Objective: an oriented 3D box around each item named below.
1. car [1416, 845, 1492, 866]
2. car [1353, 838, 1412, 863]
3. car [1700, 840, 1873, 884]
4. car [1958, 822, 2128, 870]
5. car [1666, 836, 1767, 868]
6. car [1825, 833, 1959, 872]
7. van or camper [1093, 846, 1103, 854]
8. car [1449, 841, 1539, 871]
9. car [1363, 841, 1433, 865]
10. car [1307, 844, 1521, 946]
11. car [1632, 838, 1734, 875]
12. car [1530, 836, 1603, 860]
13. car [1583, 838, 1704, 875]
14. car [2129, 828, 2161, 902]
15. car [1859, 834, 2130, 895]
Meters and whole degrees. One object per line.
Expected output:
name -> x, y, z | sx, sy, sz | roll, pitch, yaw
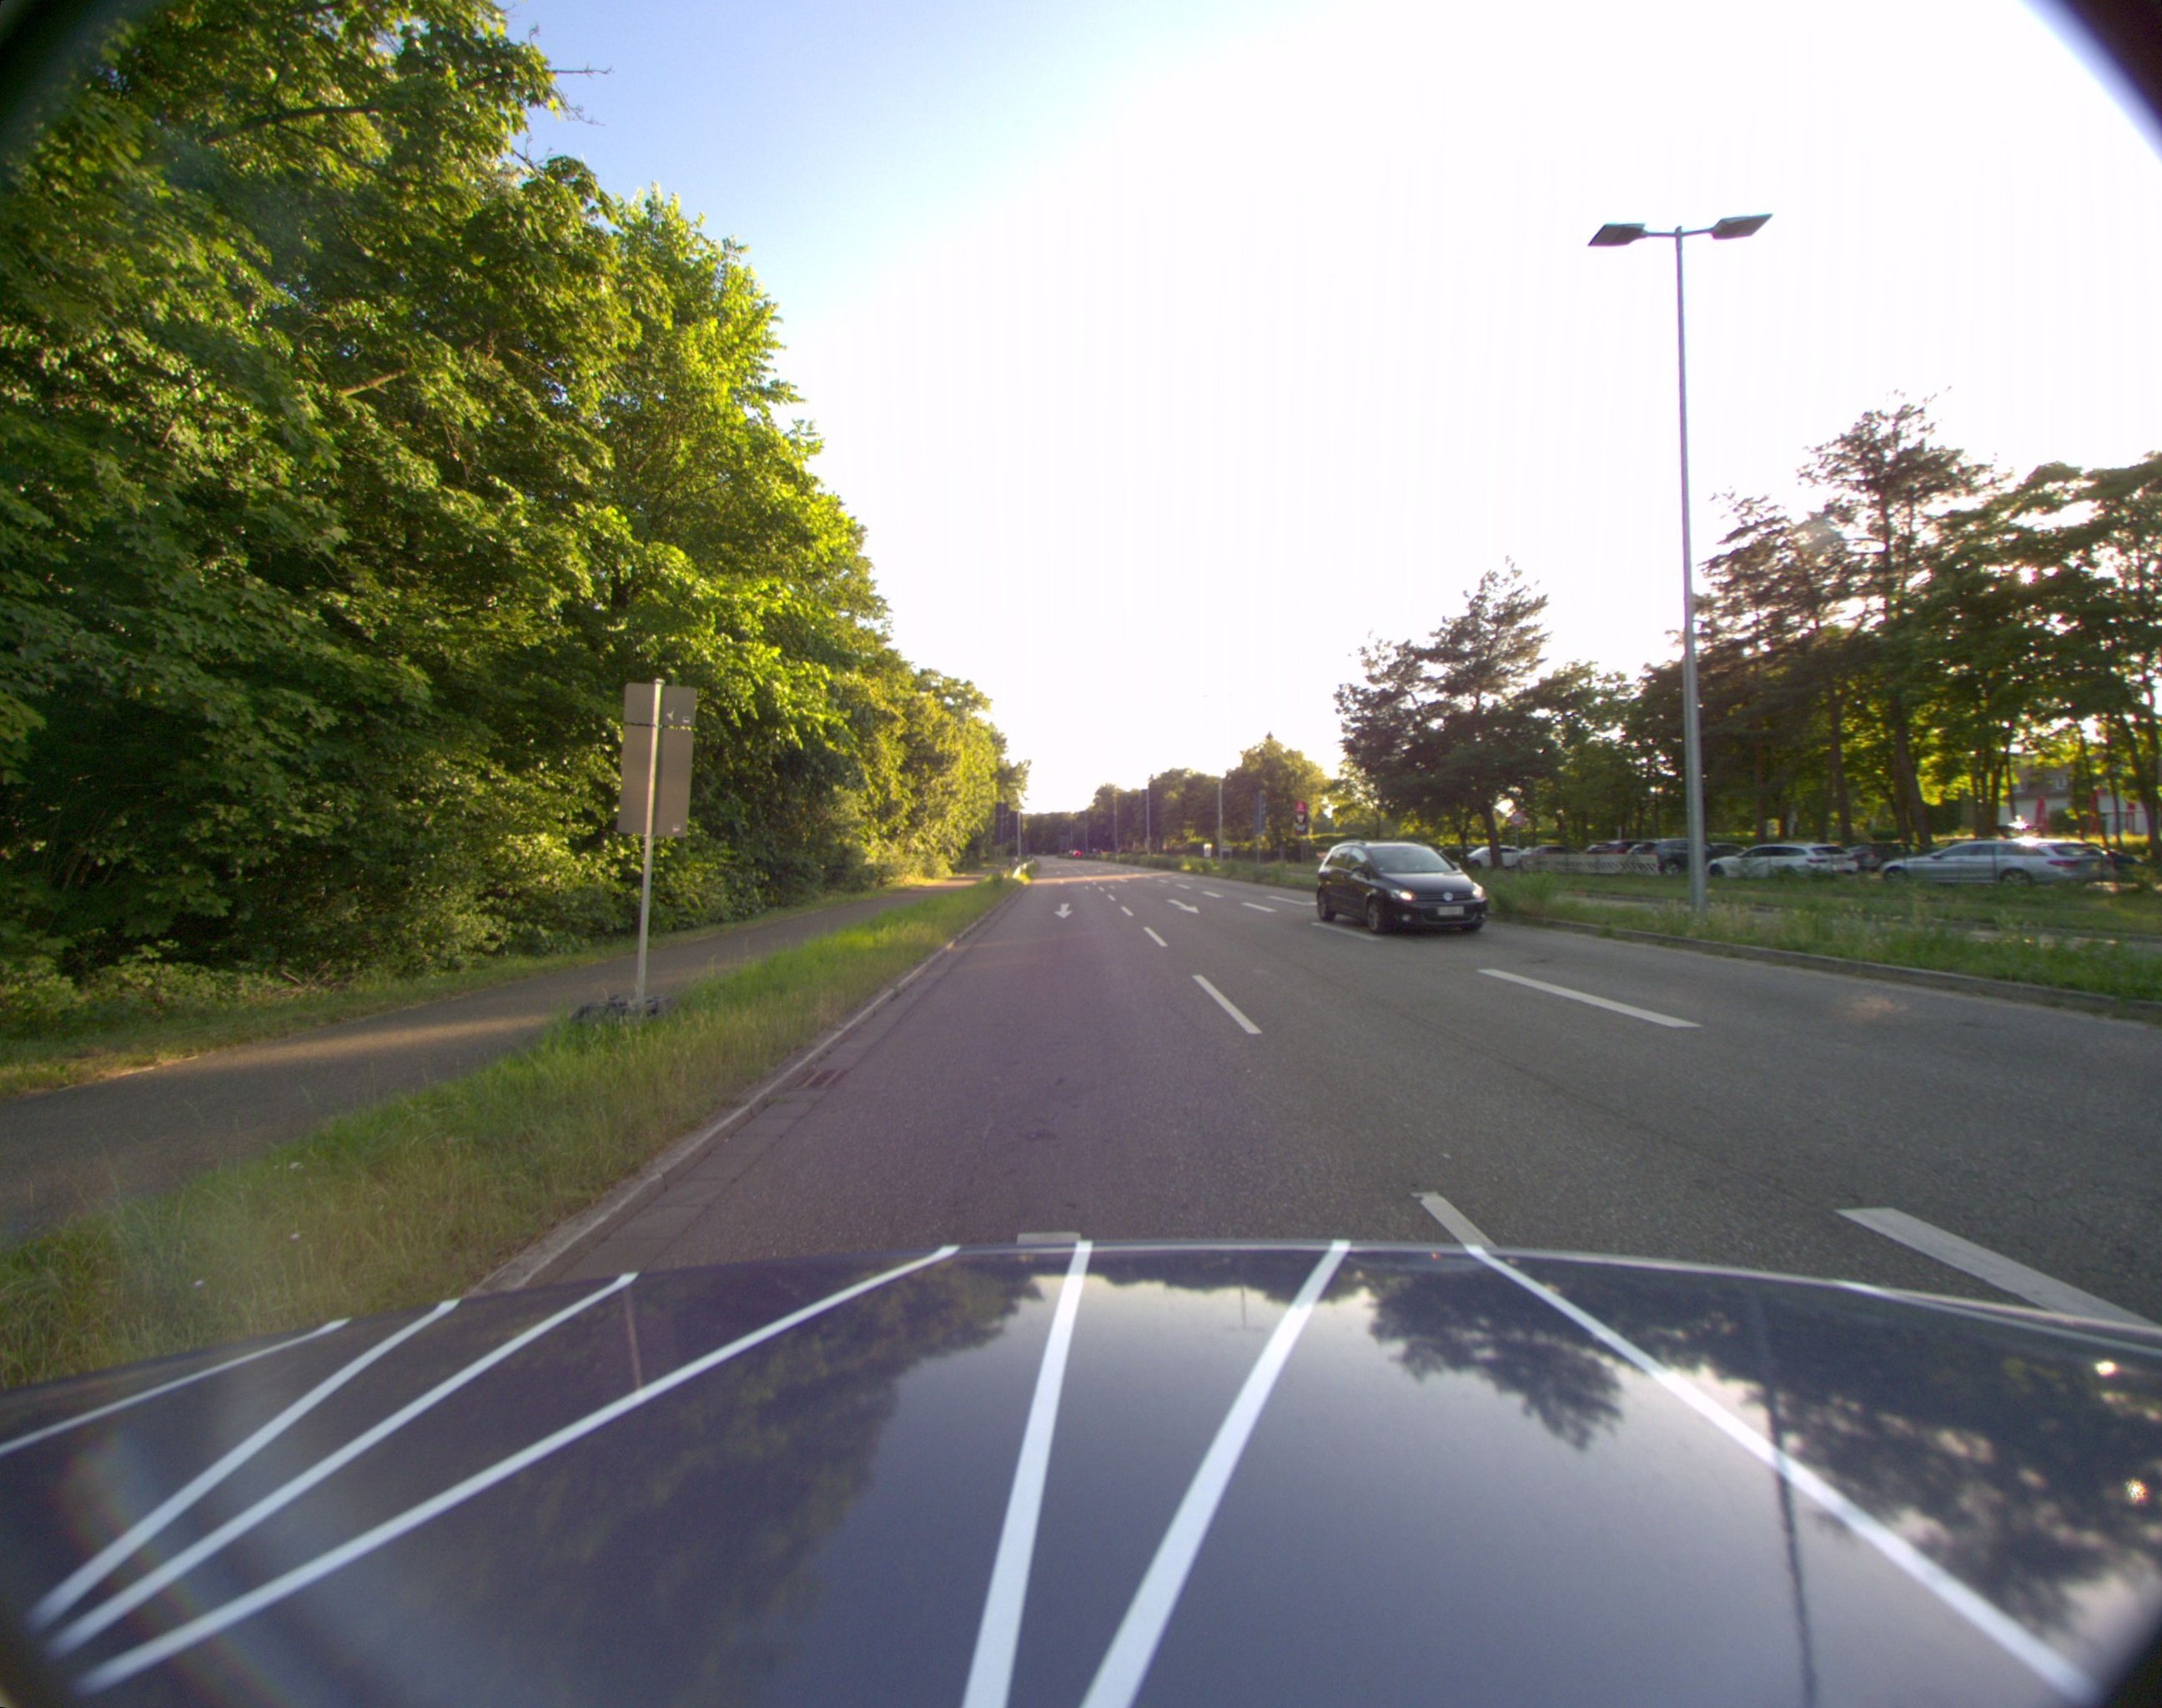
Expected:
car -> 23.853, 0.079, 48.681 | 3.997, 1.304, 1.732 | -1, 1, -1
car -> 24.207, -0.248, 61.070 | 3.998, 1.933, 1.766 | -1, 1, -2
car -> 26.417, 0.260, 28.737 | 1.999, 1.539, 4.708 | -1, 1, -4
car -> 34.977, -0.284, 27.693 | 3.997, 1.641, 1.766 | -1, 1, -1
car -> 34.076, -0.117, 40.804 | 3.997, 1.641, 1.766 | -1, 1, -1
car -> 35.417, -0.070, 33.249 | 3.997, 1.641, 1.766 | -1, 1, -1
van or camper -> 4.068, -0.955, 182.041 | 2.000, 2.002, 4.575 | -1, 0, -6
car -> 25.165, 0.133, 46.407 | 4.497, 1.743, 1.909 | -1, 1, -1
car -> 24.166, -0.095, 58.031 | 4.498, 1.787, 1.909 | -1, 1, -2
car -> 5.694, 0.613, 13.624 | 1.999, 1.543, 3.999 | -1, 0, -2
car -> 25.804, 0.109, 32.635 | 3.099, 1.518, 1.659 | -1, 1, -2
car -> 34.116, -0.398, 53.485 | 3.997, 1.641, 1.766 | -1, 1, -1
car -> 26.430, 0.113, 35.778 | 4.525, 1.608, 1.771 | -1, 1, -3
car -> 27.104, 0.260, 16.421 | 1.999, 1.776, 4.920 | -1, 1, -4
car -> 26.772, 0.249, 22.629 | 1.999, 1.597, 4.920 | -1, 0, -4
